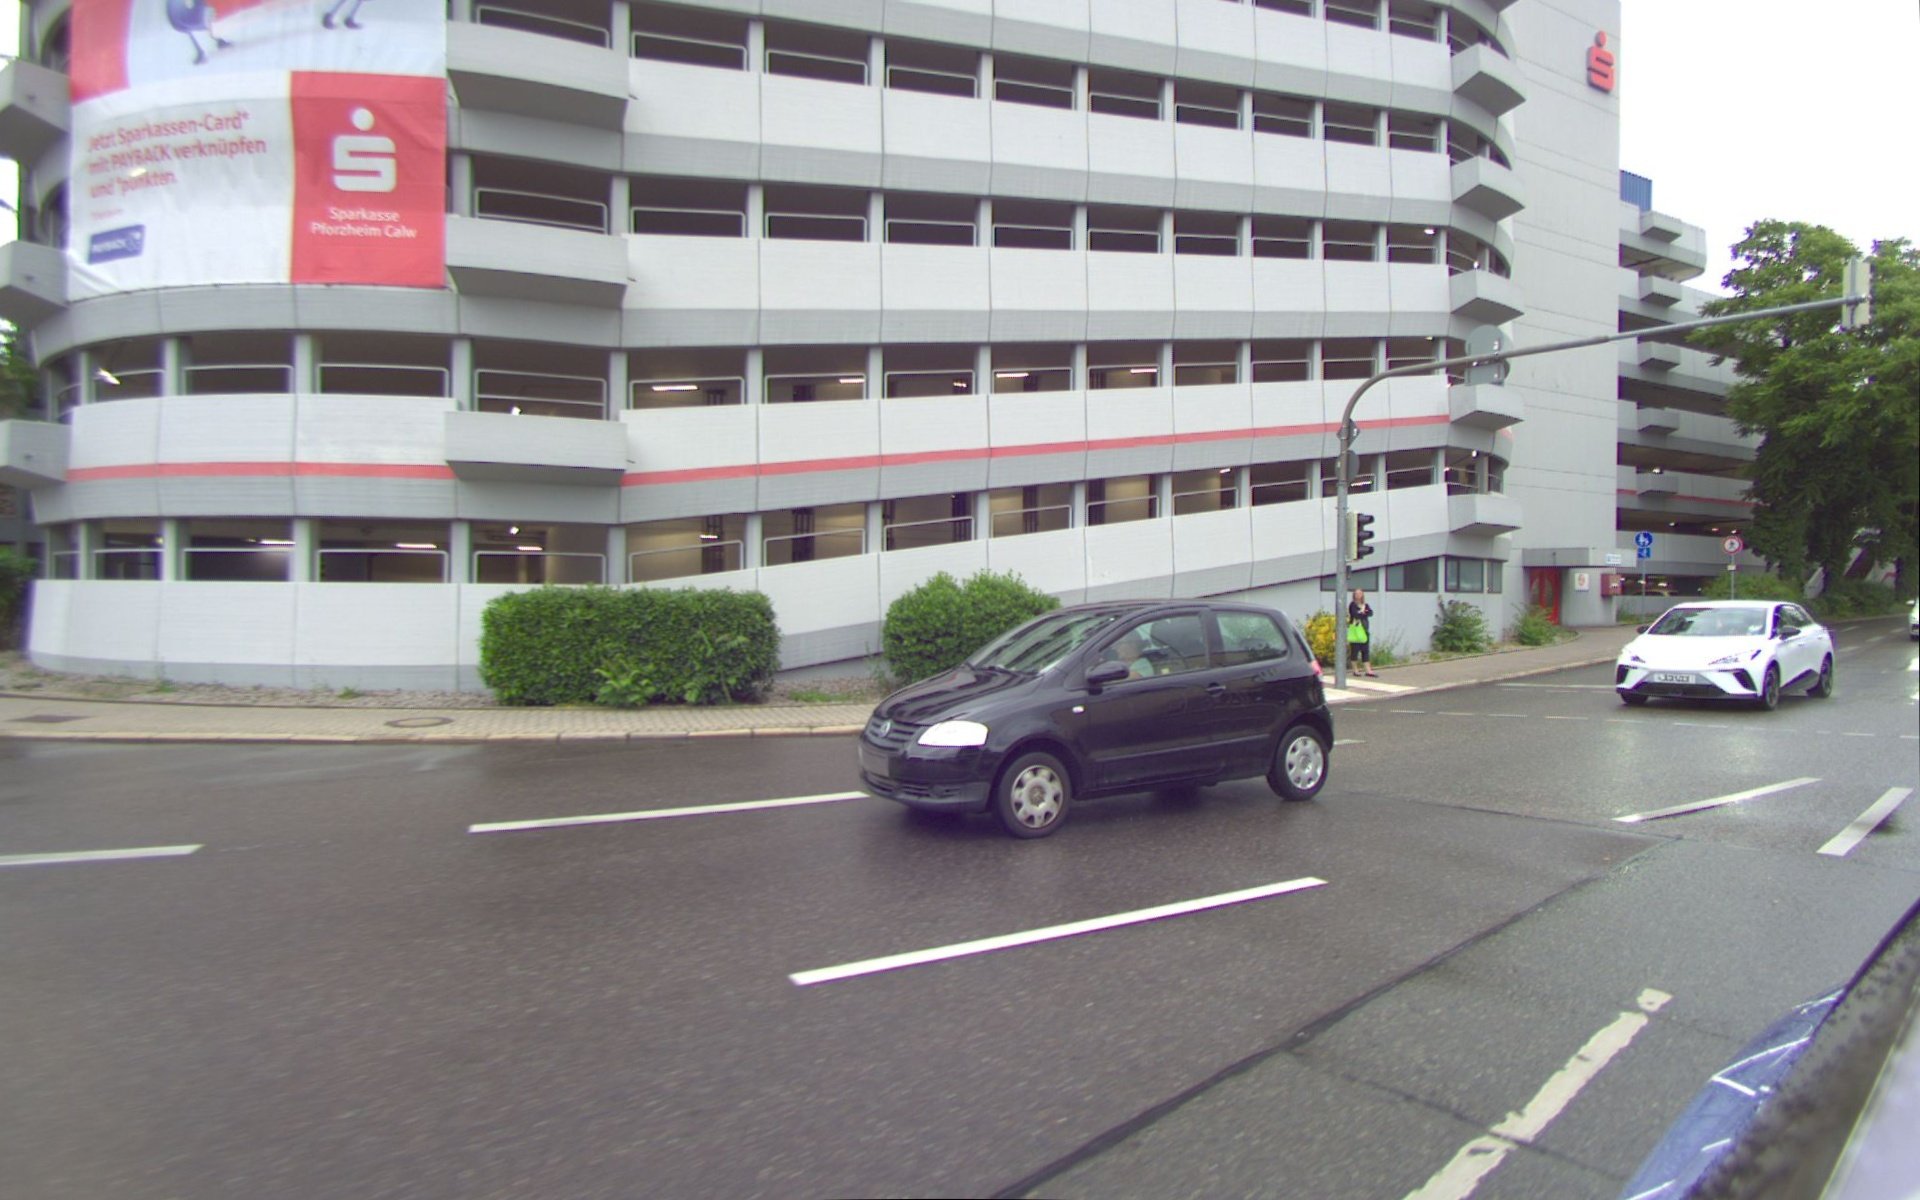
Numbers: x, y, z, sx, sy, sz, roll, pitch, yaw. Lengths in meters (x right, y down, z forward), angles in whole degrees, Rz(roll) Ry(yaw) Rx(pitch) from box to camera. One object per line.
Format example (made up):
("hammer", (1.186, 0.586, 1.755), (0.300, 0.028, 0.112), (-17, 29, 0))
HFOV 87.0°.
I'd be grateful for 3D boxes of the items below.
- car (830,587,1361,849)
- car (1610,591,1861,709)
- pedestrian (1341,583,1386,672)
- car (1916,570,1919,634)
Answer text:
("car", (1.059, 0.697, 7.602), (3.670, 1.512, 1.680), (-1, -1, -30))
("car", (11.576, 0.656, 15.027), (4.130, 1.496, 1.805), (-1, -1, -36))
("pedestrian", (7.925, 0.526, 19.869), (0.508, 1.679, 0.586), (-1, 3, -25))
("car", (28.558, 0.082, 28.672), (4.327, 1.748, 1.995), (0, 1, -45))
